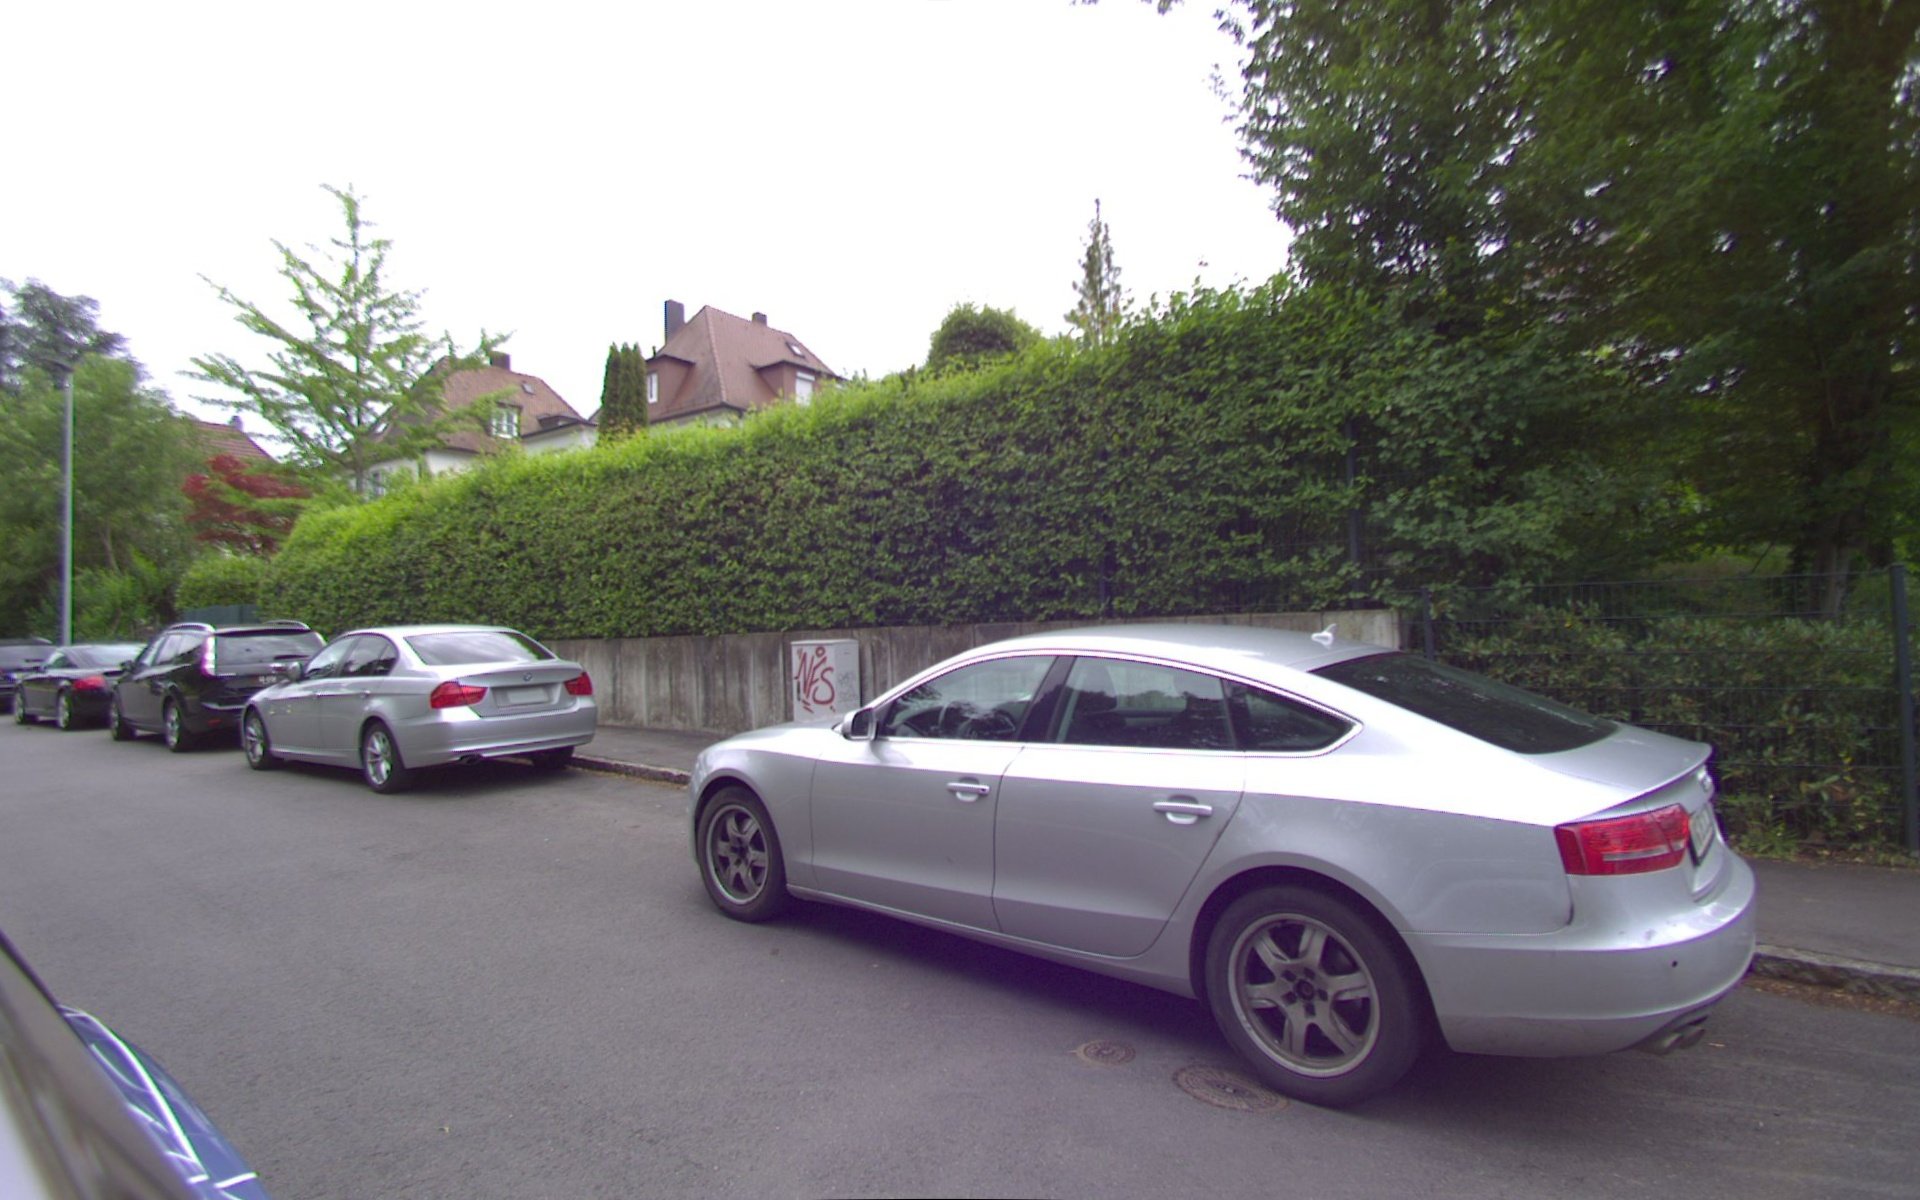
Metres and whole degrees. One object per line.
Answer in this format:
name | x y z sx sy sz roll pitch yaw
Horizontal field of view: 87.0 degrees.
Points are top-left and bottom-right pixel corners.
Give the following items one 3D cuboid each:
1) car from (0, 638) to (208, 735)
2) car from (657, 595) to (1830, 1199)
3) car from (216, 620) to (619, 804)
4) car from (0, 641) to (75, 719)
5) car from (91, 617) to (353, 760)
car | -14.281 1.357 16.710 4.096 1.351 1.697 -2 -1 33
car | 0.750 0.745 4.321 4.442 1.384 1.812 -2 -1 41
car | -5.398 0.946 9.857 4.332 1.384 1.759 -2 -1 36
car | -19.532 1.565 20.269 4.653 1.395 1.703 -2 -1 35
car | -9.780 1.059 13.278 4.468 1.545 1.641 -2 -1 38
